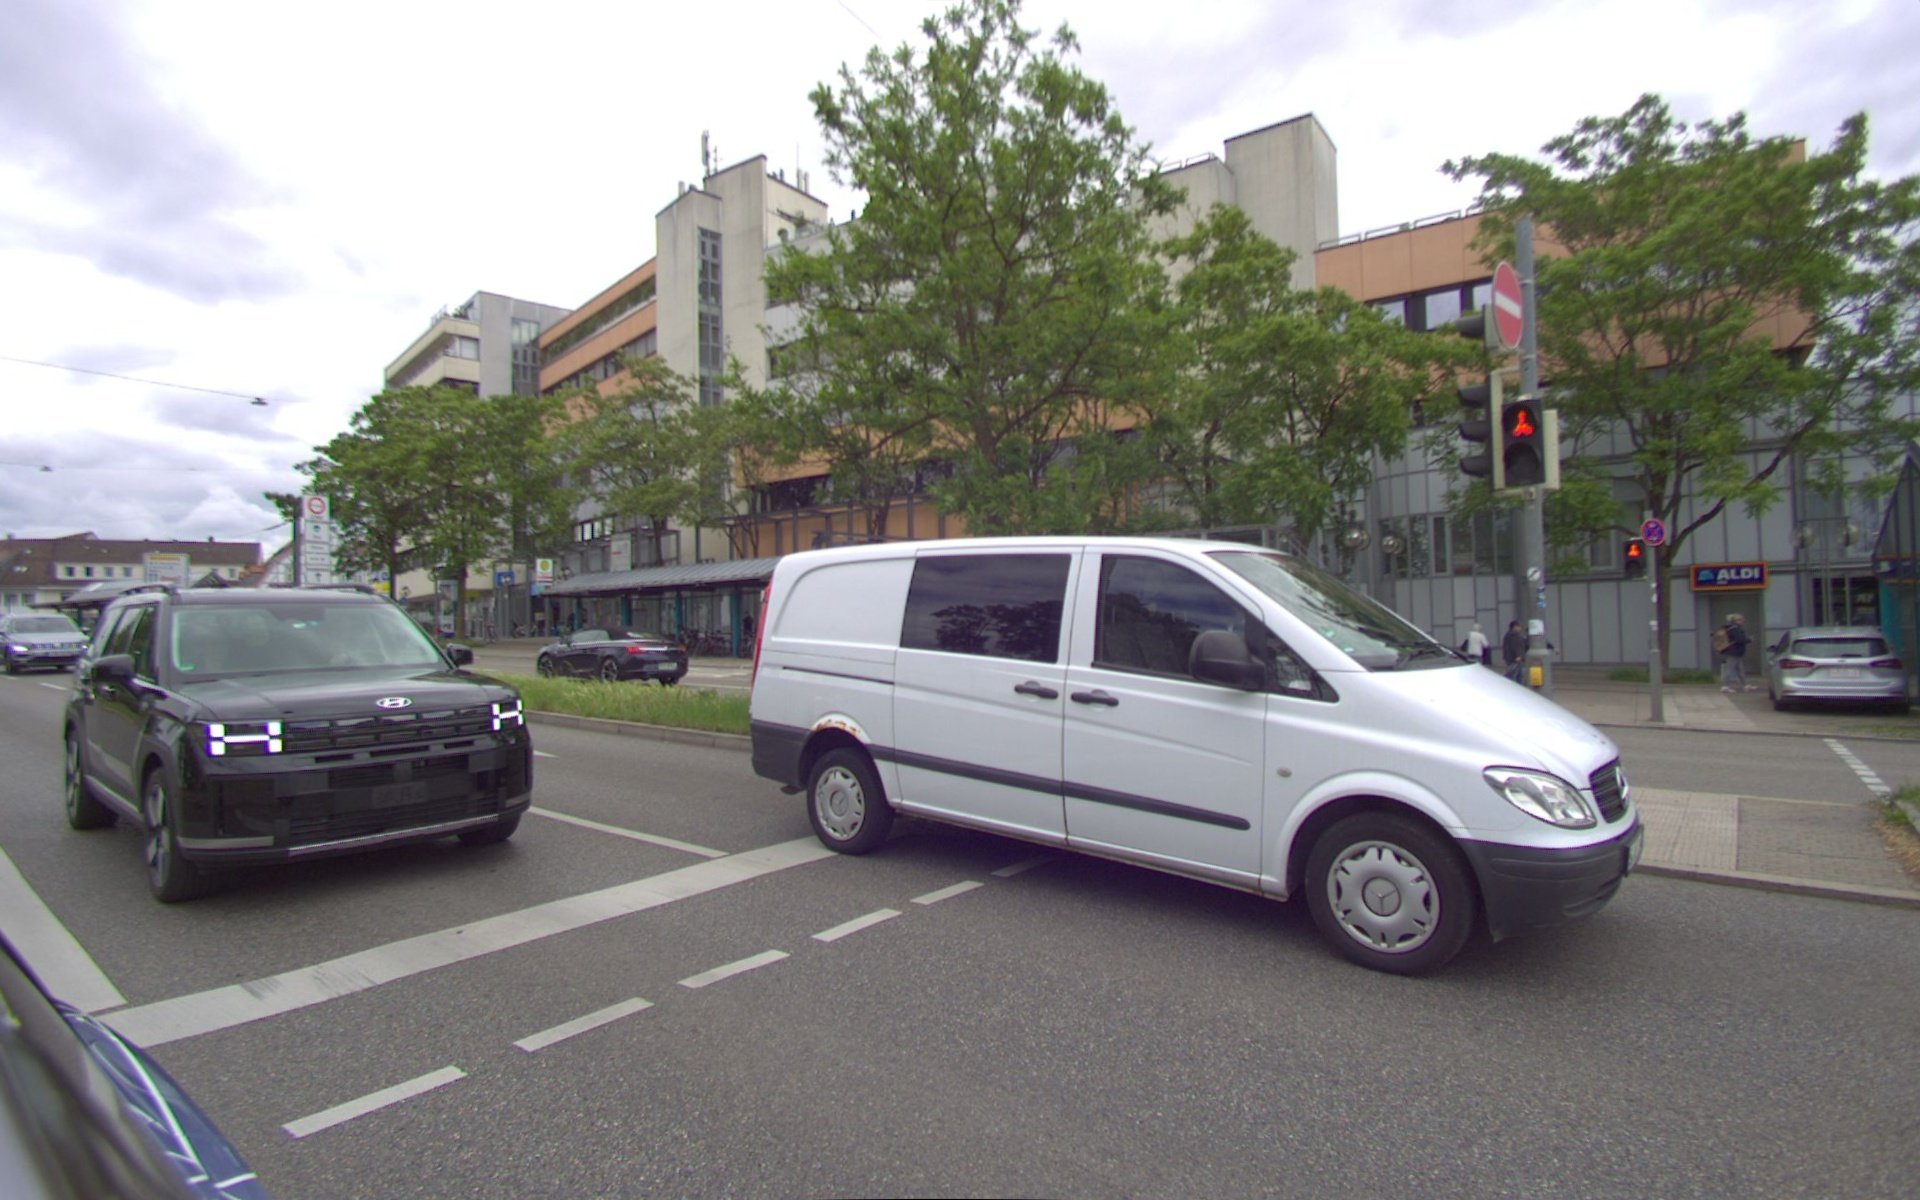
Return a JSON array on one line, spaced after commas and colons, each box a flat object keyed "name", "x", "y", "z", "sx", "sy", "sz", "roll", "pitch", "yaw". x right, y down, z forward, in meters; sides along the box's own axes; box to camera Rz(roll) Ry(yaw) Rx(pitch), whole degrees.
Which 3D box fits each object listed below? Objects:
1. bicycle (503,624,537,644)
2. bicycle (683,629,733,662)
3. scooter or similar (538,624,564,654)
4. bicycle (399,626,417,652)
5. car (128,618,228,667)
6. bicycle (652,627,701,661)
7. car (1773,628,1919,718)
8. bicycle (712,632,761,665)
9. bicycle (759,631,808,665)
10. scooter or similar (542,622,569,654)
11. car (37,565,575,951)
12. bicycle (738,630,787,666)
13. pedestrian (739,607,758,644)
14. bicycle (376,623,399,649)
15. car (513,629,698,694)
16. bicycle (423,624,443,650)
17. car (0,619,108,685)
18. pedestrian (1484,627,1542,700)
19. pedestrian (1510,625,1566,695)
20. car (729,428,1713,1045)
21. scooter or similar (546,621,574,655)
[{"name": "bicycle", "x": -28.776, "y": 2.208, "z": 66.149, "sx": 1.941, "sy": 1.329, "sz": 0.707, "roll": 1, "pitch": -2, "yaw": -34}, {"name": "bicycle", "x": -9.488, "y": 1.712, "z": 38.242, "sx": 0.707, "sy": 1.162, "sz": 2.054, "roll": -1, "pitch": 0, "yaw": 25}, {"name": "scooter or similar", "x": -18.026, "y": 1.711, "z": 44.584, "sx": 0.267, "sy": 1.305, "sz": 1.118, "roll": -1, "pitch": -2, "yaw": 32}, {"name": "bicycle", "x": -27.983, "y": 1.975, "z": 51.338, "sx": 0.425, "sy": 1.263, "sz": 1.474, "roll": 0, "pitch": -2, "yaw": -14}, {"name": "car", "x": -27.234, "y": 1.433, "z": 35.203, "sx": 4.515, "sy": 1.586, "sz": 1.972, "roll": -1, "pitch": -2, "yaw": 42}, {"name": "bicycle", "x": -11.098, "y": 1.711, "z": 39.680, "sx": 0.707, "sy": 1.162, "sz": 2.054, "roll": -1, "pitch": 1, "yaw": 25}, {"name": "car", "x": 15.452, "y": 1.208, "z": 17.568, "sx": 1.998, "sy": 1.364, "sz": 3.948, "roll": -3, "pitch": -3, "yaw": 39}, {"name": "bicycle", "x": -8.332, "y": 1.792, "z": 37.857, "sx": 0.707, "sy": 1.162, "sz": 2.054, "roll": -1, "pitch": -2, "yaw": 25}, {"name": "bicycle", "x": -6.392, "y": 1.723, "z": 36.707, "sx": 0.707, "sy": 1.162, "sz": 2.054, "roll": -1, "pitch": -1, "yaw": 25}, {"name": "scooter or similar", "x": -17.776, "y": 1.648, "z": 44.469, "sx": 0.221, "sy": 1.395, "sz": 1.192, "roll": -1, "pitch": -2, "yaw": 33}, {"name": "car", "x": -4.692, "y": 0.777, "z": 6.920, "sx": 4.676, "sy": 1.765, "sz": 1.902, "roll": -2, "pitch": -1, "yaw": 41}, {"name": "bicycle", "x": -7.239, "y": 1.746, "z": 37.190, "sx": 0.707, "sy": 1.162, "sz": 2.055, "roll": -1, "pitch": 2, "yaw": 25}, {"name": "pedestrian", "x": -9.708, "y": 1.168, "z": 46.392, "sx": 0.675, "sy": 1.656, "sz": 0.526, "roll": -1, "pitch": -2, "yaw": 41}, {"name": "bicycle", "x": -27.987, "y": 1.744, "z": 49.464, "sx": 0.616, "sy": 1.263, "sz": 1.689, "roll": 0, "pitch": -2, "yaw": -17}, {"name": "car", "x": -8.780, "y": 1.462, "z": 24.867, "sx": 5.002, "sy": 1.408, "sz": 1.797, "roll": -1, "pitch": -3, "yaw": 37}, {"name": "bicycle", "x": -26.368, "y": 1.827, "z": 50.649, "sx": 0.616, "sy": 1.263, "sz": 1.689, "roll": 0, "pitch": -2, "yaw": -17}, {"name": "car", "x": -25.924, "y": 1.418, "z": 28.328, "sx": 4.380, "sy": 1.662, "sz": 1.978, "roll": -2, "pitch": 0, "yaw": 33}, {"name": "pedestrian", "x": 11.478, "y": 1.306, "z": 21.017, "sx": 0.860, "sy": 1.469, "sz": 0.602, "roll": -1, "pitch": 0, "yaw": 7}, {"name": "pedestrian", "x": 12.424, "y": 1.285, "z": 21.770, "sx": 0.860, "sy": 1.469, "sz": 0.602, "roll": -1, "pitch": 0, "yaw": 7}, {"name": "car", "x": 0.991, "y": 0.510, "z": 5.712, "sx": 5.073, "sy": 2.029, "sz": 1.854, "roll": -2, "pitch": -2, "yaw": 41}, {"name": "scooter or similar", "x": -17.523, "y": 1.656, "z": 44.364, "sx": 0.259, "sy": 1.434, "sz": 1.192, "roll": -1, "pitch": -2, "yaw": 33}]
